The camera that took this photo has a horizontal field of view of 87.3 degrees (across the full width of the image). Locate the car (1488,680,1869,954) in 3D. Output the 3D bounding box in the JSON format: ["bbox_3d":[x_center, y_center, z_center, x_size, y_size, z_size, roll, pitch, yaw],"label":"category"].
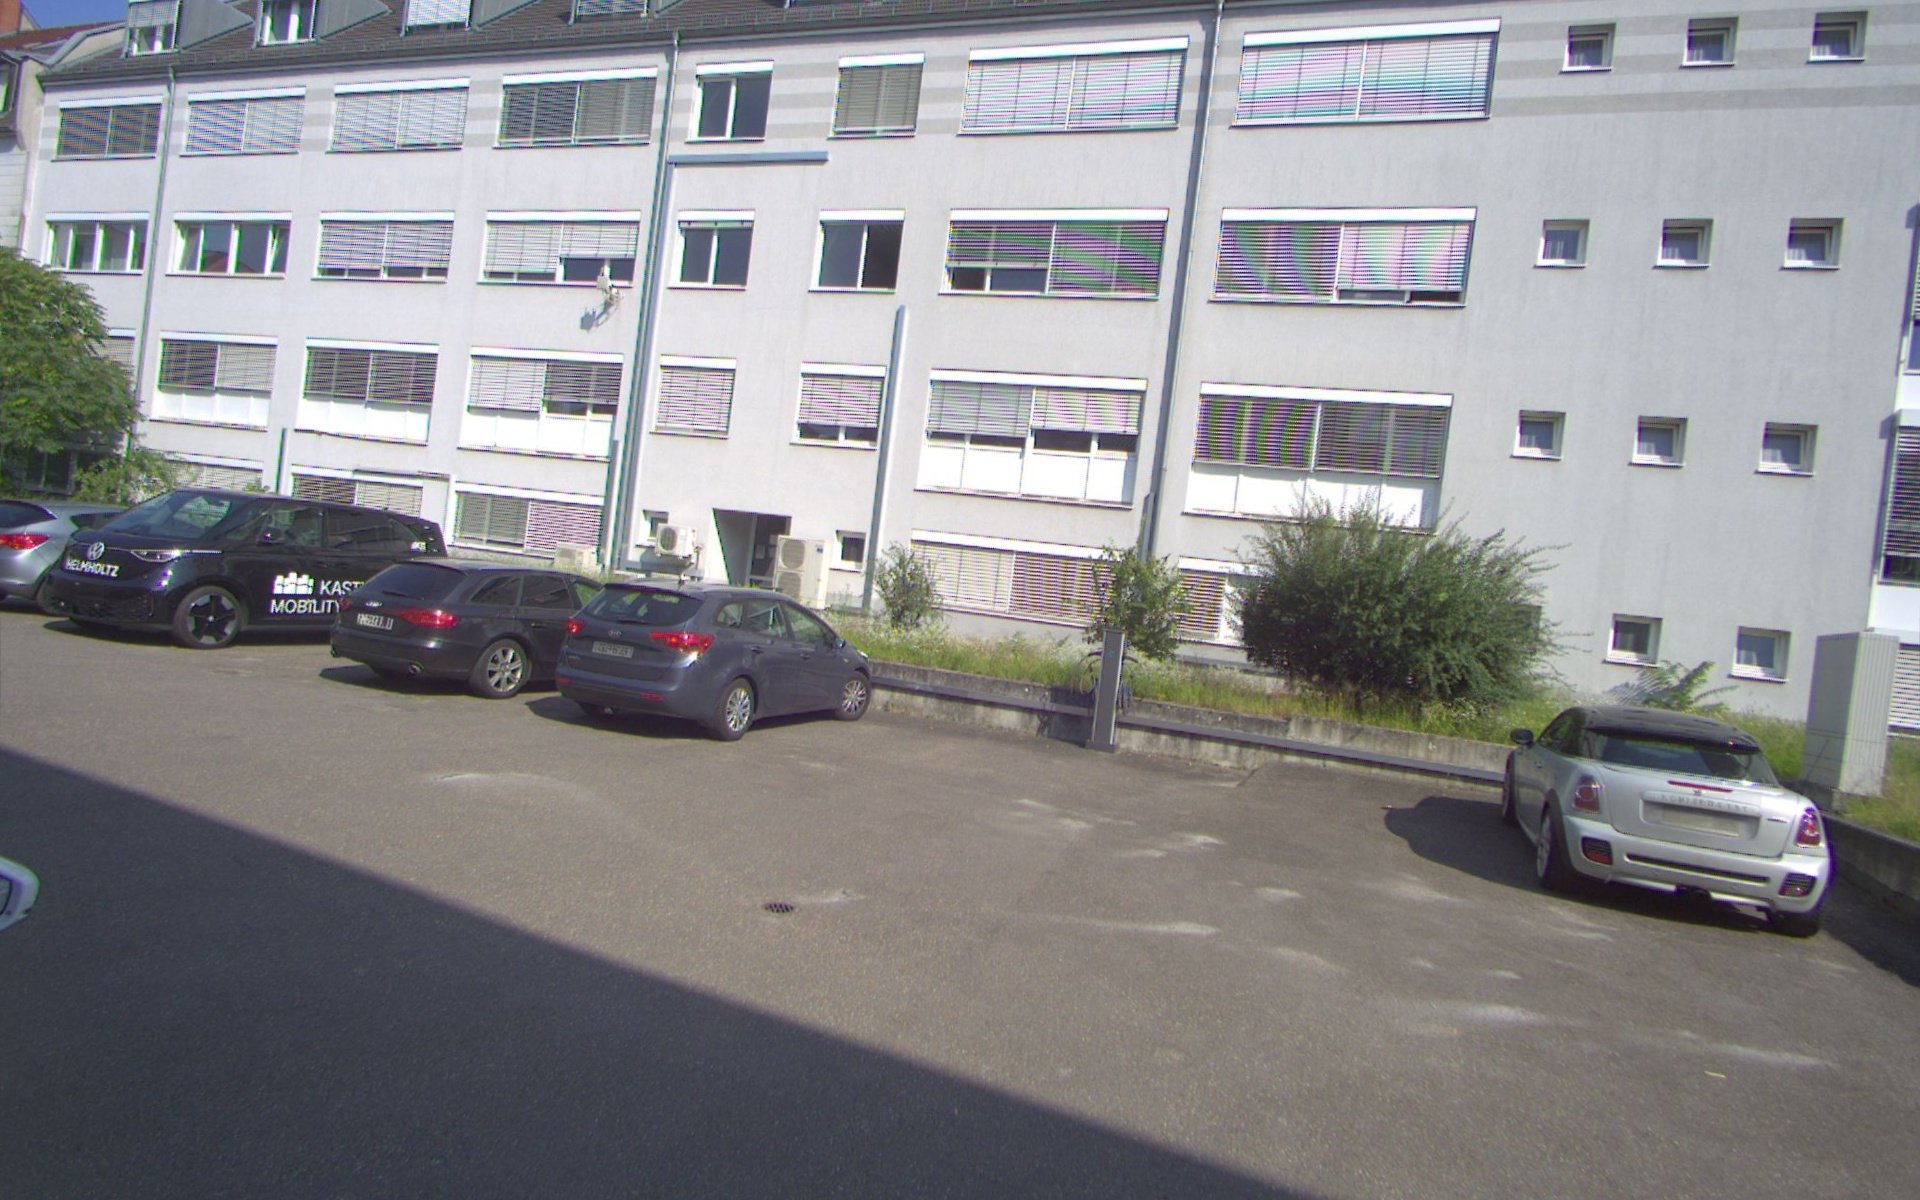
[{"bbox_3d":[5.639,1.549,8.423,1.628,1.455,3.581,8,0,22],"label":"car"}]

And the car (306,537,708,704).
[{"bbox_3d":[-5.057,0.292,11.941,1.660,1.455,4.245,8,0,23],"label":"car"}]

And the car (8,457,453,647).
[{"bbox_3d":[-9.118,-0.465,13.128,1.878,1.882,4.350,7,0,15],"label":"car"}]

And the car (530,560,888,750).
[{"bbox_3d":[-2.475,0.573,11.058,1.710,1.496,4.060,8,0,20],"label":"car"}]

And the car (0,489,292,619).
[{"bbox_3d":[-11.793,-0.595,14.113,1.631,1.484,3.911,7,0,11],"label":"car"}]
